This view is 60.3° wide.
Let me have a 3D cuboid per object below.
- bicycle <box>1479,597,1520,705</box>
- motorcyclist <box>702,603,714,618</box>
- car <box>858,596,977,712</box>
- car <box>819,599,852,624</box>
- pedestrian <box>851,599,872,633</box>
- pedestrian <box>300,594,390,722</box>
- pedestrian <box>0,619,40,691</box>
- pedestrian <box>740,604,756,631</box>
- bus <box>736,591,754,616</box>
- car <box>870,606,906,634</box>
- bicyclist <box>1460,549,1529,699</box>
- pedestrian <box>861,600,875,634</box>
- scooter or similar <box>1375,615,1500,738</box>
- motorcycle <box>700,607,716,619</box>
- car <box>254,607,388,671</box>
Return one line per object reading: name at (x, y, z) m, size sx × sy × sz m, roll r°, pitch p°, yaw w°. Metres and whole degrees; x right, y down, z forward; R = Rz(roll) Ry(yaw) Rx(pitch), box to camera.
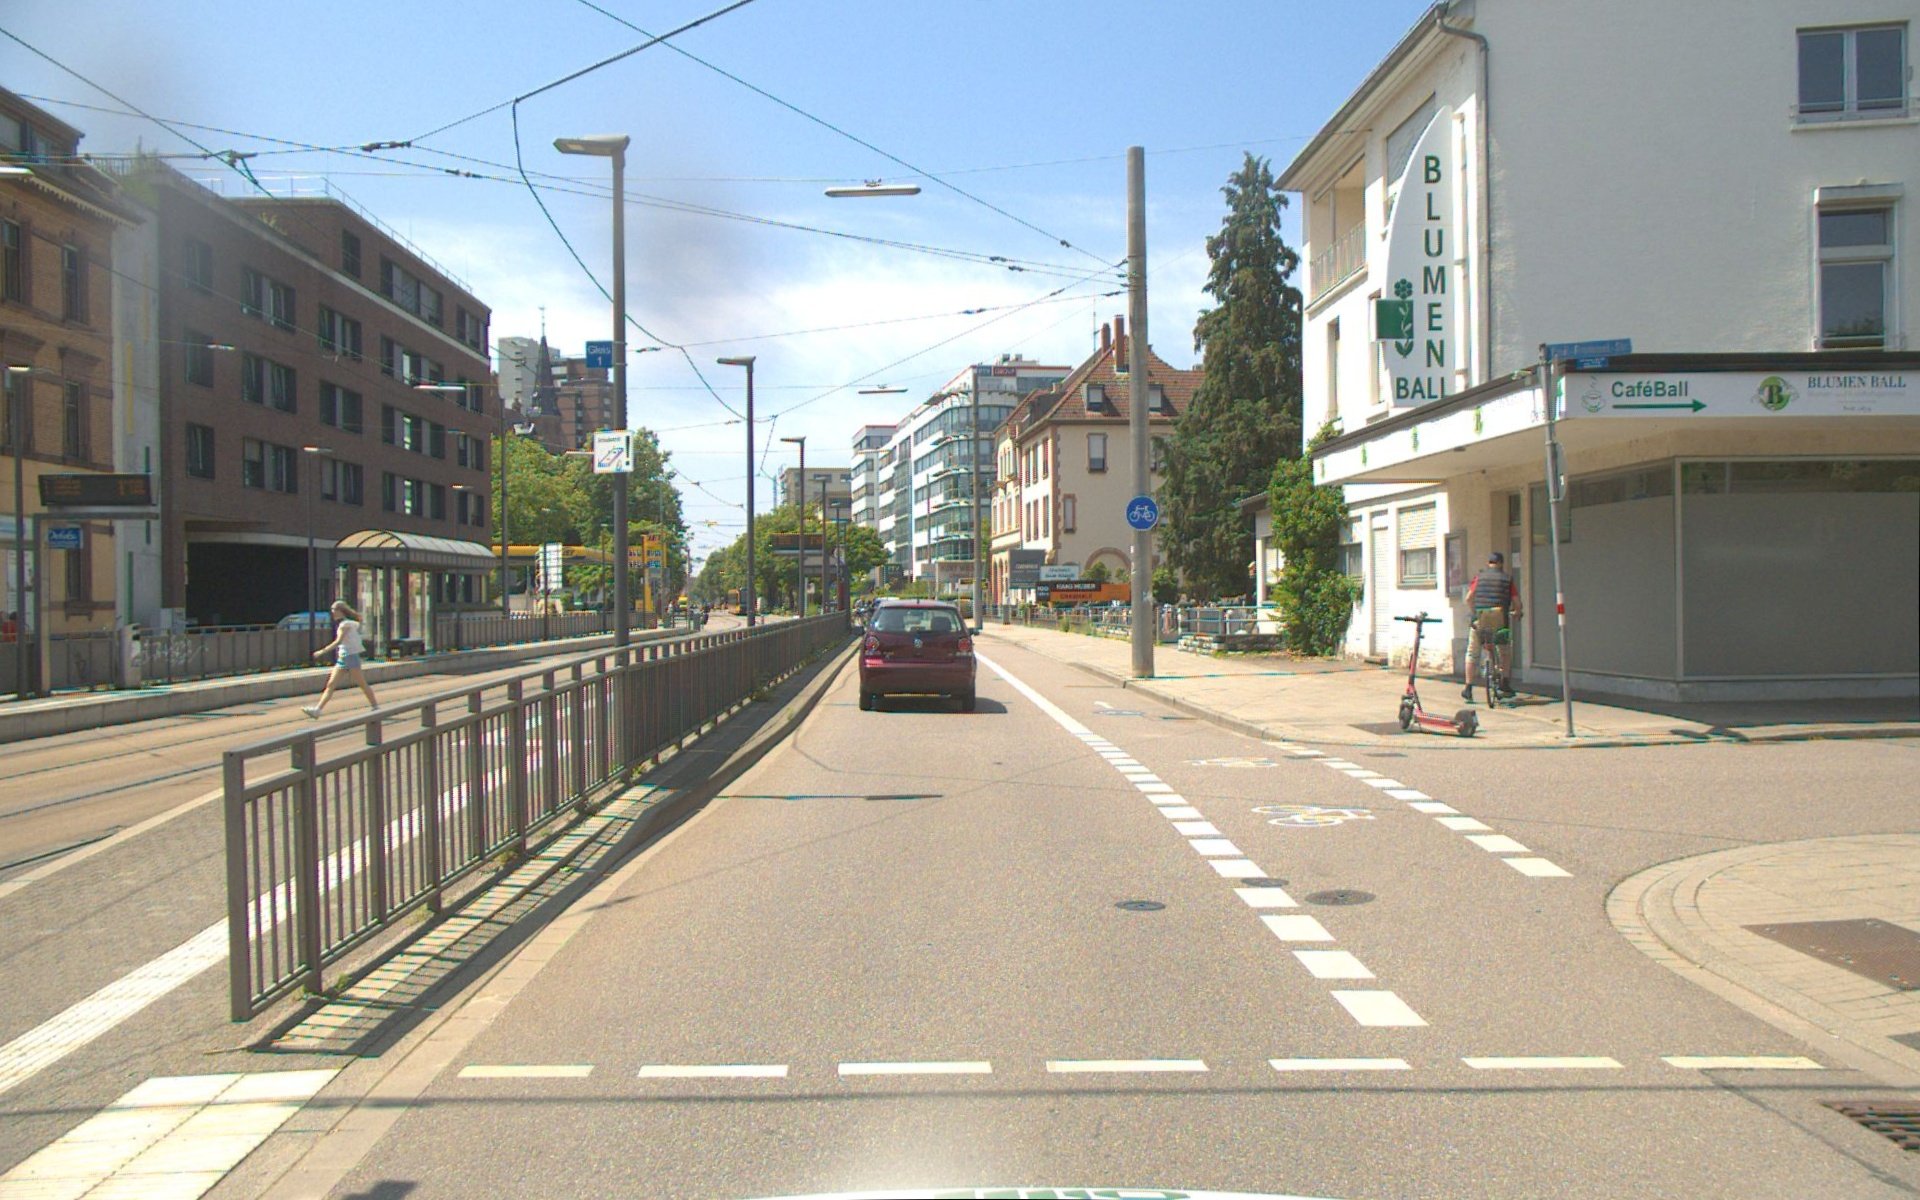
bicycle at (6.564, 0.595, 20.090) m, size 0.367 × 1.218 × 1.905 m, roll -1°, pitch 0°, yaw 20°
motorcyclist at (-19.299, 0.817, 126.723) m, size 0.832 × 1.159 × 0.634 m, roll -2°, pitch 0°, yaw 1°
car at (-0.620, 0.711, 23.237) m, size 1.530 × 1.479 × 3.060 m, roll -1°, pitch 0°, yaw -3°
car at (-9.857, 0.887, 130.405) m, size 1.960 × 1.881 × 3.986 m, roll -2°, pitch 0°, yaw -14°
pedestrian at (-5.700, 0.921, 95.430) m, size 1.146 × 1.868 × 0.791 m, roll -2°, pitch 0°, yaw -5°
pedestrian at (-8.553, 0.789, 22.982) m, size 1.083 × 1.704 × 0.759 m, roll -1°, pitch 0°, yaw -27°
pedestrian at (-21.155, 1.233, 37.147) m, size 0.602 × 1.588 × 0.640 m, roll -1°, pitch 0°, yaw -3°
pedestrian at (-16.311, 1.365, 127.490) m, size 1.087 × 2.049 × 1.038 m, roll -1°, pitch -1°, yaw -1°
bus at (-26.990, 0.395, 207.534) m, size 2.105 × 3.055 × 6.560 m, roll -1°, pitch 0°, yaw -9°
car at (-4.426, 1.194, 101.450) m, size 1.955 × 1.653 × 4.626 m, roll -1°, pitch 0°, yaw -5°
bicyclist at (6.551, 0.287, 20.252) m, size 0.712 × 1.791 × 0.924 m, roll -1°, pitch 0°, yaw 21°
pedestrian at (-5.233, 0.971, 94.043) m, size 0.730 × 1.868 × 0.791 m, roll -2°, pitch 0°, yaw -5°
scooter or similar at (4.857, 0.756, 16.902) m, size 0.335 × 1.198 × 1.456 m, roll -1°, pitch 0°, yaw -25°
motorcycle at (-19.308, 0.978, 126.776) m, size 0.854 × 0.820 × 1.910 m, roll -2°, pitch 0°, yaw 1°
car at (-16.946, 1.005, 44.065) m, size 1.953 × 1.534 × 4.000 m, roll -2°, pitch 0°, yaw 0°
